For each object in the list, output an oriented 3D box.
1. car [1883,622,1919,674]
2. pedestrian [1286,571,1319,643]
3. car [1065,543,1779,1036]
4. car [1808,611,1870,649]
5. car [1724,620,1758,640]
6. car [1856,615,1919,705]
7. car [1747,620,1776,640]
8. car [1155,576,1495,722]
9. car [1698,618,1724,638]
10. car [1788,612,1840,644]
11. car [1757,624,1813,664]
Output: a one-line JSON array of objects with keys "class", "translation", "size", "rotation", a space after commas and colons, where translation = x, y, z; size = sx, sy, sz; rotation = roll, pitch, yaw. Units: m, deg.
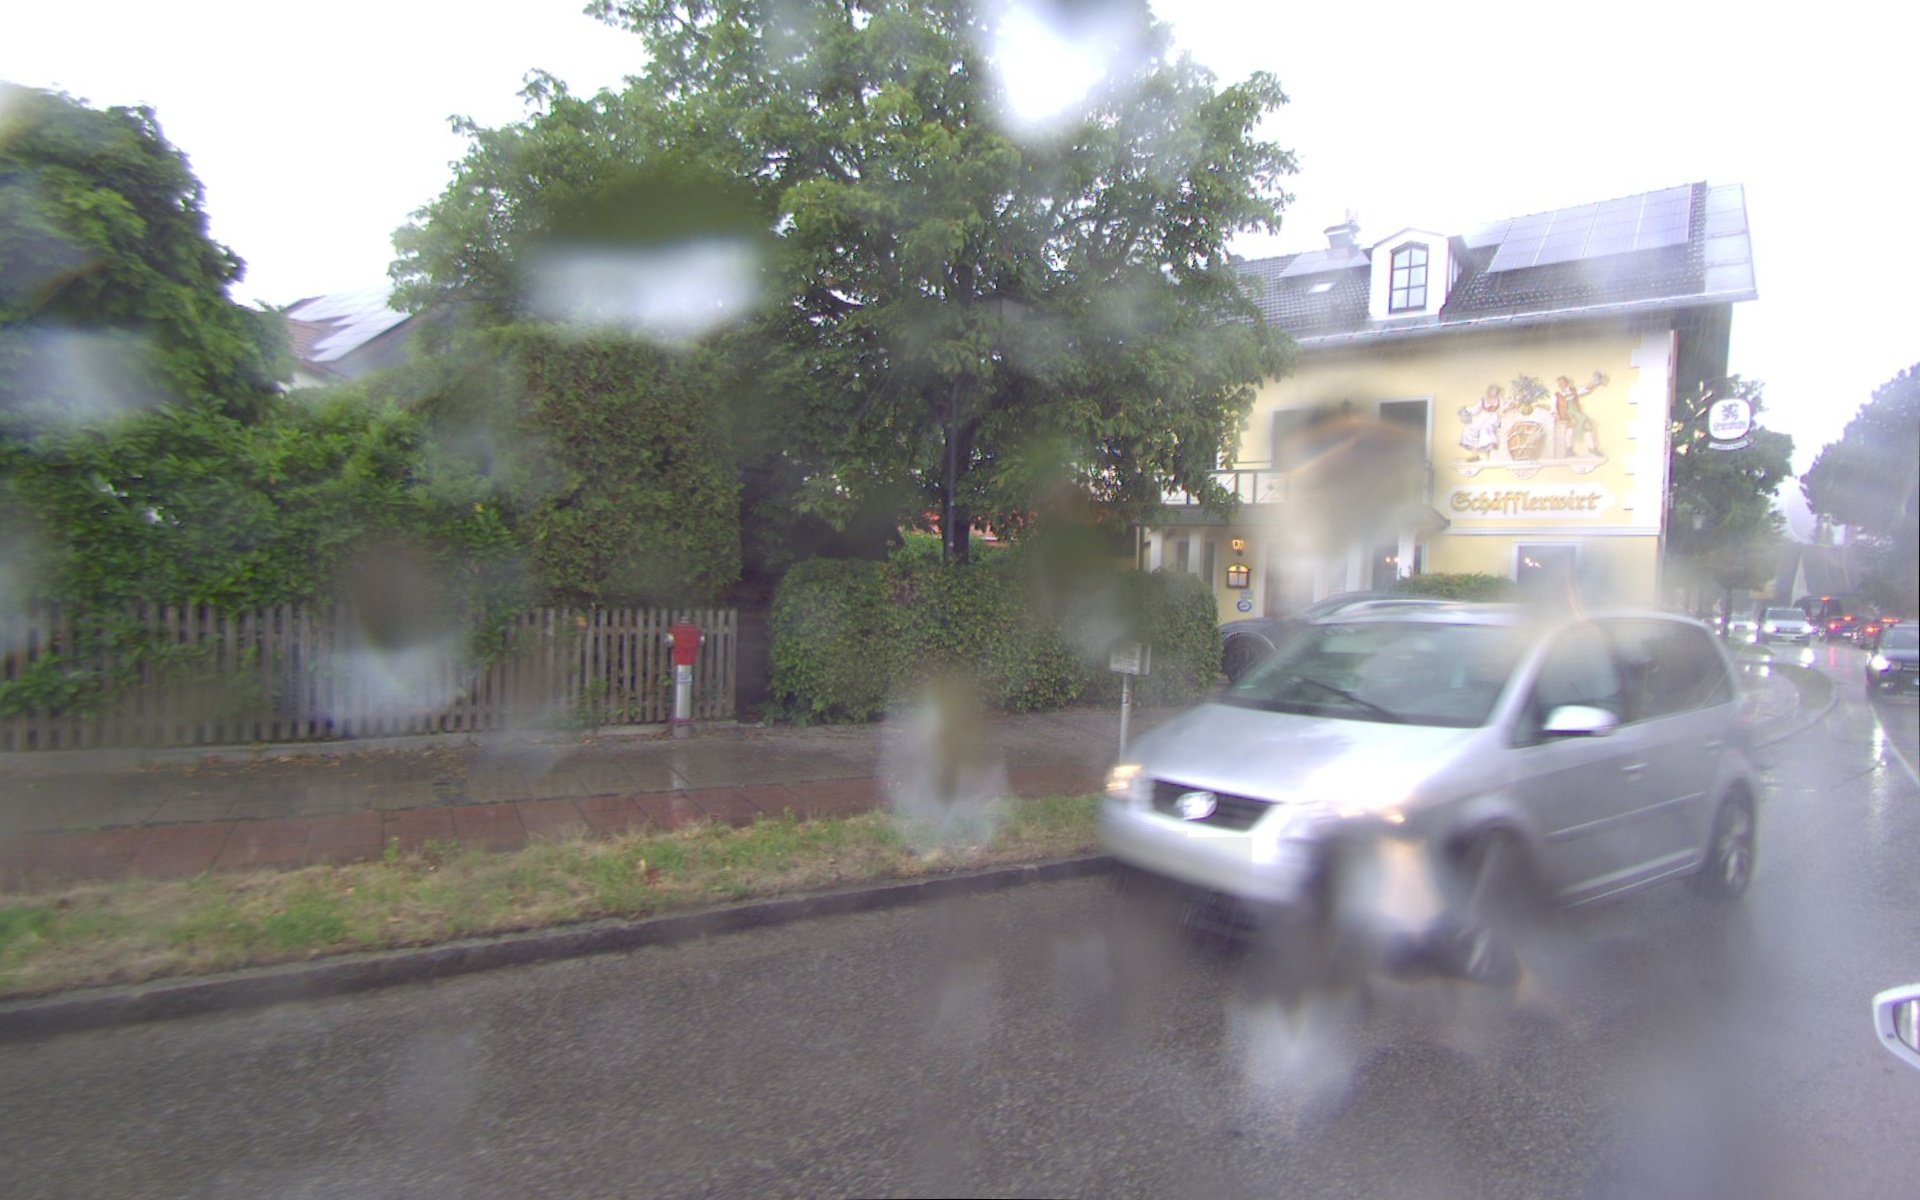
[{"class": "car", "translation": [39.900, 1.990, 41.309], "size": [2.140, 1.925, 4.997], "rotation": [3, 2, 35]}, {"class": "pedestrian", "translation": [8.390, 0.156, 24.585], "size": [0.485, 1.712, 0.551], "rotation": [6, 4, 39]}, {"class": "car", "translation": [2.625, 0.712, 5.351], "size": [3.961, 1.700, 1.741], "rotation": [2, -1, -36]}, {"class": "car", "translation": [50.998, 1.696, 58.376], "size": [2.140, 1.925, 4.997], "rotation": [3, 2, 35]}, {"class": "car", "translation": [58.580, 2.222, 75.381], "size": [1.838, 1.377, 4.466], "rotation": [0, 0, 36]}, {"class": "car", "translation": [18.704, 1.151, 19.661], "size": [1.568, 1.631, 3.522], "rotation": [1, -1, 40]}, {"class": "car", "translation": [87.958, 3.241, 110.312], "size": [2.140, 1.925, 4.997], "rotation": [3, 2, 35]}, {"class": "car", "translation": [5.398, 0.595, 15.102], "size": [4.415, 1.589, 1.833], "rotation": [6, 5, 34]}, {"class": "car", "translation": [68.838, 2.517, 92.109], "size": [1.838, 1.781, 4.466], "rotation": [-2, -2, 37]}, {"class": "car", "translation": [57.605, 1.830, 67.821], "size": [2.140, 1.925, 4.997], "rotation": [3, 2, 35]}, {"class": "car", "translation": [43.993, 2.324, 53.642], "size": [1.825, 1.997, 4.688], "rotation": [1, -1, 34]}]
